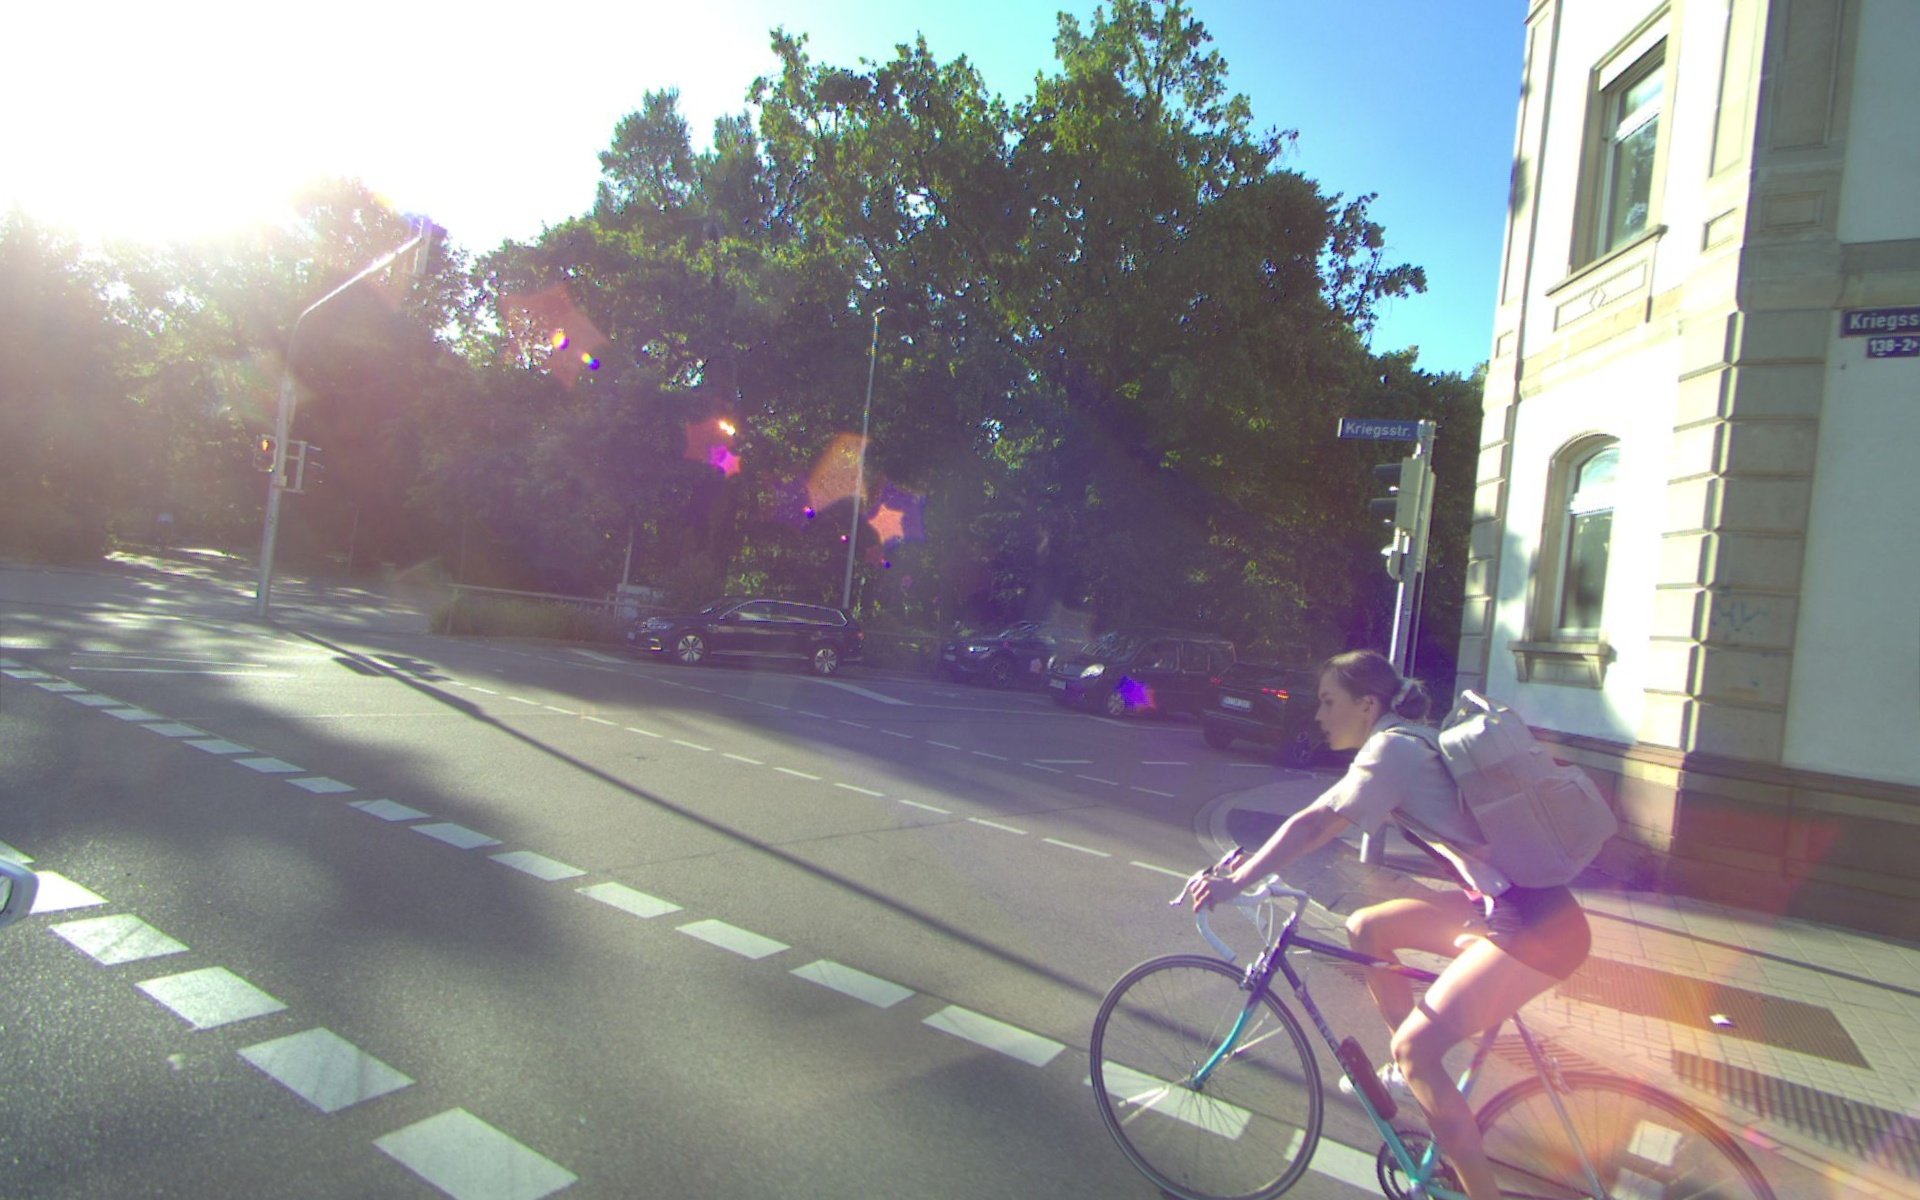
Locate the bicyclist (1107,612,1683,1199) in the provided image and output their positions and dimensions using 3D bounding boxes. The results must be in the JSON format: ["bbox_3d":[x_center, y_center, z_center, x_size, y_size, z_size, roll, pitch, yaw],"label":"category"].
[{"bbox_3d":[1.062,0.857,2.558,1.063,1.509,0.553,7,0,32],"label":"bicyclist"}]

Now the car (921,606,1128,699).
[{"bbox_3d":[1.564,1.264,23.878,4.488,1.672,1.889,7,-1,-30],"label":"car"}]

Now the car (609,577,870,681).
[{"bbox_3d":[-4.284,0.595,19.840,4.558,1.491,1.886,8,-1,-34],"label":"car"}]

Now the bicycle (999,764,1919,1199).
[{"bbox_3d":[1.074,1.151,2.531,1.812,1.111,0.521,7,0,32],"label":"bicycle"}]

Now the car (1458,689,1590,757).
[{"bbox_3d":[15.667,3.430,27.923,3.616,1.432,1.616,8,1,-34],"label":"car"}]

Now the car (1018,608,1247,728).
[{"bbox_3d":[3.507,1.397,20.214,4.207,1.827,1.930,8,1,-34],"label":"car"}]

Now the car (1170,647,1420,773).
[{"bbox_3d":[5.614,1.858,16.686,4.028,1.546,1.882,9,1,-38],"label":"car"}]

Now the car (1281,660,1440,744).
[{"bbox_3d":[9.603,2.464,24.100,3.496,1.530,1.722,8,1,-34],"label":"car"}]

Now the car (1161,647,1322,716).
[{"bbox_3d":[7.733,2.248,27.501,4.195,1.398,1.886,8,-1,-34],"label":"car"}]
